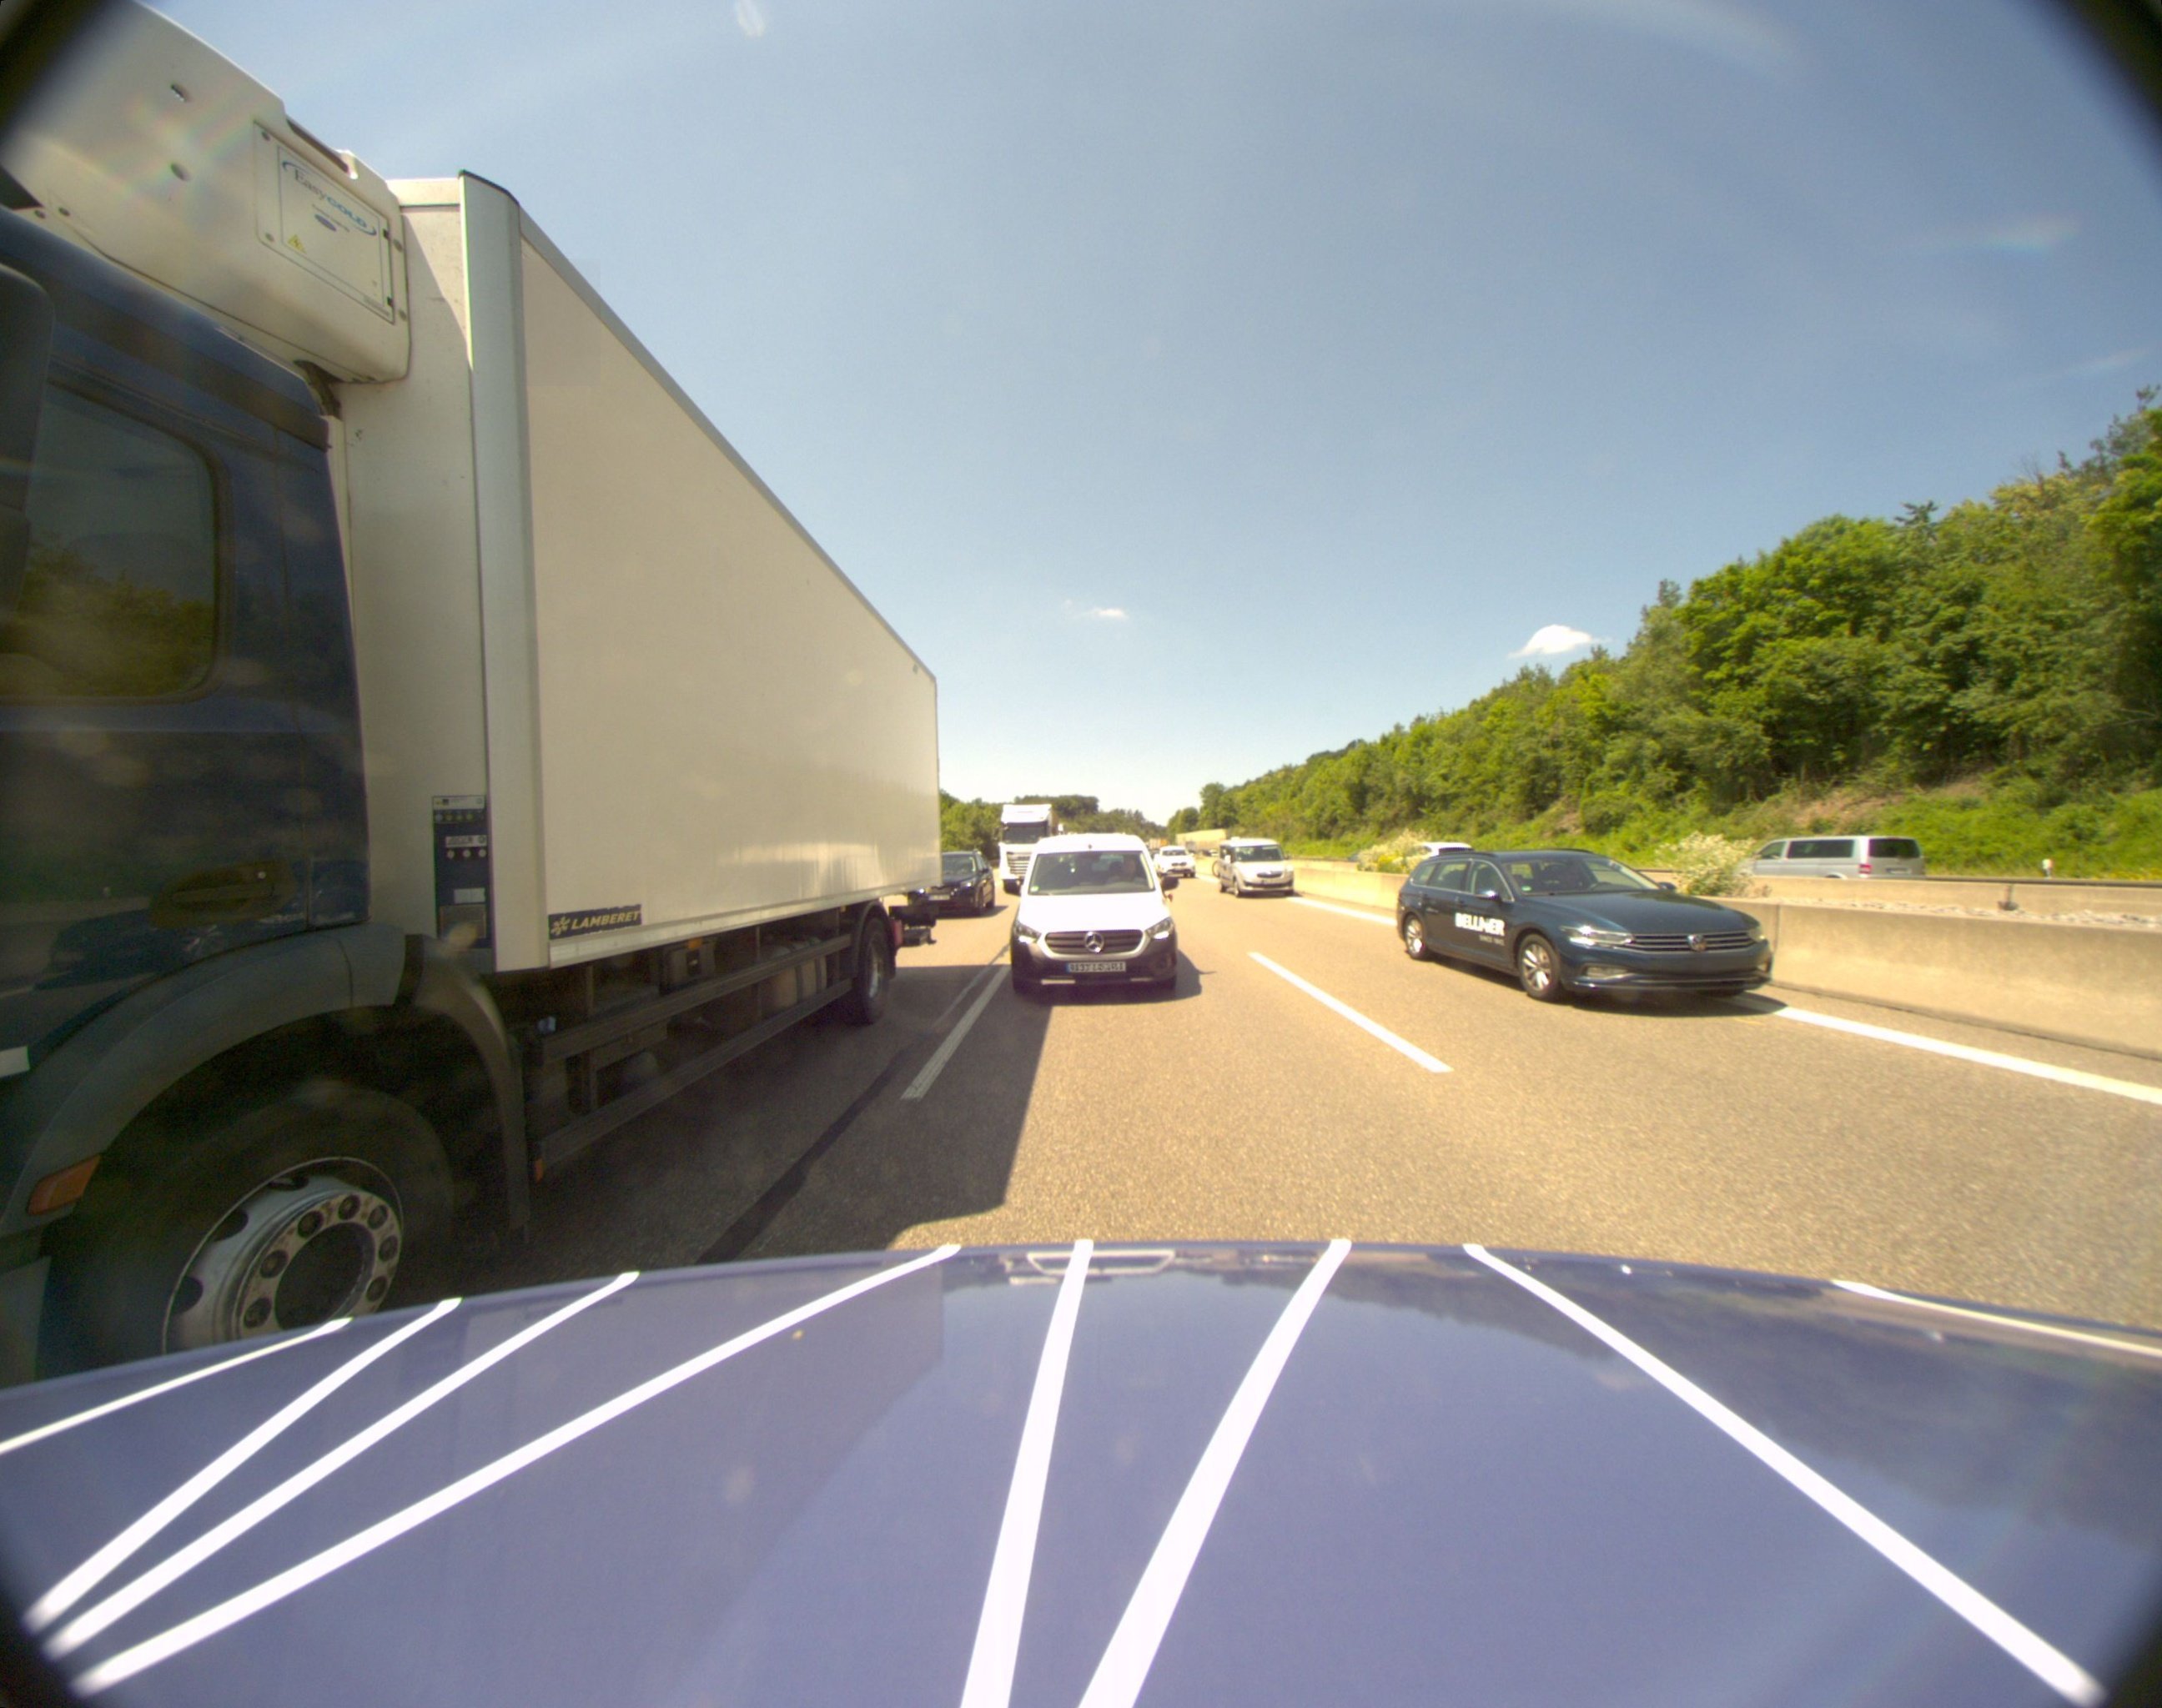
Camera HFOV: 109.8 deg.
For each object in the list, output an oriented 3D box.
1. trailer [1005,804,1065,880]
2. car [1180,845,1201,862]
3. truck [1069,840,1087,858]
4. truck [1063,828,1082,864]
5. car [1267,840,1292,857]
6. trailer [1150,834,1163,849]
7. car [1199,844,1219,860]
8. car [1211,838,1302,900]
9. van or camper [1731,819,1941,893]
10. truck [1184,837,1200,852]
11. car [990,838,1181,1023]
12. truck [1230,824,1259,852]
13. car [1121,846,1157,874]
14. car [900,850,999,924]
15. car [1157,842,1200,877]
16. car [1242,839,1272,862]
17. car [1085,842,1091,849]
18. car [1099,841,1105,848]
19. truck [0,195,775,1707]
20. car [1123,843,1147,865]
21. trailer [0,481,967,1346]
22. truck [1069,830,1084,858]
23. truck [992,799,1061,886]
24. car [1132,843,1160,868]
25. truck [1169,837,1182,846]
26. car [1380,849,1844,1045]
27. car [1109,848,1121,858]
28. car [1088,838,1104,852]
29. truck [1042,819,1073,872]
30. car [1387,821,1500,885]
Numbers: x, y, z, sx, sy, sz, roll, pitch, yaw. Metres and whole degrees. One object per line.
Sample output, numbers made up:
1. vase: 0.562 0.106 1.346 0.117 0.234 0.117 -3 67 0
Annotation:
1. trailer: -2.612 -0.791 46.641 2.766 4.061 11.614 0 2 1
2. car: 13.008 -0.059 90.386 1.911 1.871 3.999 -2 2 1
3. truck: -0.763 -1.287 191.844 4.084 4.403 11.396 -2 0 0
4. truck: -1.033 -0.977 98.484 2.187 4.438 10.868 -2 0 0
5. car: 24.559 -0.672 94.147 1.998 2.002 3.999 -2 2 0
6. trailer: 23.616 -4.036 237.754 2.956 4.456 10.814 -2 2 1
7. car: 16.719 -0.271 99.431 1.857 1.936 4.000 -2 0 0
8. car: 5.591 0.390 24.864 1.857 1.762 4.917 -2 2 1
9. van or camper: 23.287 -0.002 23.768 1.998 2.002 4.680 -2 2 2
10. truck: 22.081 -1.989 151.836 2.183 2.868 6.740 -2 2 0
11. car: 0.098 0.687 9.387 1.756 1.681 4.363 -2 2 1
12. truck: 24.759 -2.426 115.221 2.699 3.967 7.988 -2 2 1
13. car: 3.887 0.372 51.679 1.999 1.747 3.998 -2 2 -1
14. car: -3.428 0.782 20.681 1.999 1.682 4.609 -1 2 -2
15. car: 5.186 0.258 40.884 1.824 1.696 3.999 -2 2 1
16. car: 16.298 -0.336 70.567 1.998 2.002 3.999 -2 2 2
17. car: 2.277 -2.826 249.478 1.998 2.003 3.998 -2 2 0
18. car: 7.013 -3.176 257.223 1.998 2.002 3.998 -2 2 0
19. truck: -3.165 0.271 2.366 2.562 2.924 4.103 -1 2 2
20. car: 5.270 -0.073 74.794 1.999 2.002 3.998 -2 2 -1
21. trailer: -3.043 0.200 6.526 2.562 2.882 7.882 -2 1 2
22. truck: -0.656 -1.452 118.813 2.187 4.073 10.868 -2 0 0
23. truck: -2.693 -0.627 39.862 2.766 4.061 7.332 -2 2 2
24. car: 5.257 0.154 61.995 1.998 2.001 4.001 0 -1 1
25. truck: 22.248 -3.056 179.218 2.357 2.002 6.490 -2 2 0
26. car: 5.134 0.725 8.366 1.879 1.442 4.677 -2 1 1
27. car: 5.862 -0.221 131.604 1.803 1.660 4.000 -2 0 0
28. car: 2.207 -1.335 112.822 1.999 2.002 3.998 -2 2 -1
29. truck: -2.071 -0.739 70.998 2.394 4.438 10.868 -2 0 0
30. car: 12.690 -0.087 26.931 1.998 2.002 4.192 -2 2 0
